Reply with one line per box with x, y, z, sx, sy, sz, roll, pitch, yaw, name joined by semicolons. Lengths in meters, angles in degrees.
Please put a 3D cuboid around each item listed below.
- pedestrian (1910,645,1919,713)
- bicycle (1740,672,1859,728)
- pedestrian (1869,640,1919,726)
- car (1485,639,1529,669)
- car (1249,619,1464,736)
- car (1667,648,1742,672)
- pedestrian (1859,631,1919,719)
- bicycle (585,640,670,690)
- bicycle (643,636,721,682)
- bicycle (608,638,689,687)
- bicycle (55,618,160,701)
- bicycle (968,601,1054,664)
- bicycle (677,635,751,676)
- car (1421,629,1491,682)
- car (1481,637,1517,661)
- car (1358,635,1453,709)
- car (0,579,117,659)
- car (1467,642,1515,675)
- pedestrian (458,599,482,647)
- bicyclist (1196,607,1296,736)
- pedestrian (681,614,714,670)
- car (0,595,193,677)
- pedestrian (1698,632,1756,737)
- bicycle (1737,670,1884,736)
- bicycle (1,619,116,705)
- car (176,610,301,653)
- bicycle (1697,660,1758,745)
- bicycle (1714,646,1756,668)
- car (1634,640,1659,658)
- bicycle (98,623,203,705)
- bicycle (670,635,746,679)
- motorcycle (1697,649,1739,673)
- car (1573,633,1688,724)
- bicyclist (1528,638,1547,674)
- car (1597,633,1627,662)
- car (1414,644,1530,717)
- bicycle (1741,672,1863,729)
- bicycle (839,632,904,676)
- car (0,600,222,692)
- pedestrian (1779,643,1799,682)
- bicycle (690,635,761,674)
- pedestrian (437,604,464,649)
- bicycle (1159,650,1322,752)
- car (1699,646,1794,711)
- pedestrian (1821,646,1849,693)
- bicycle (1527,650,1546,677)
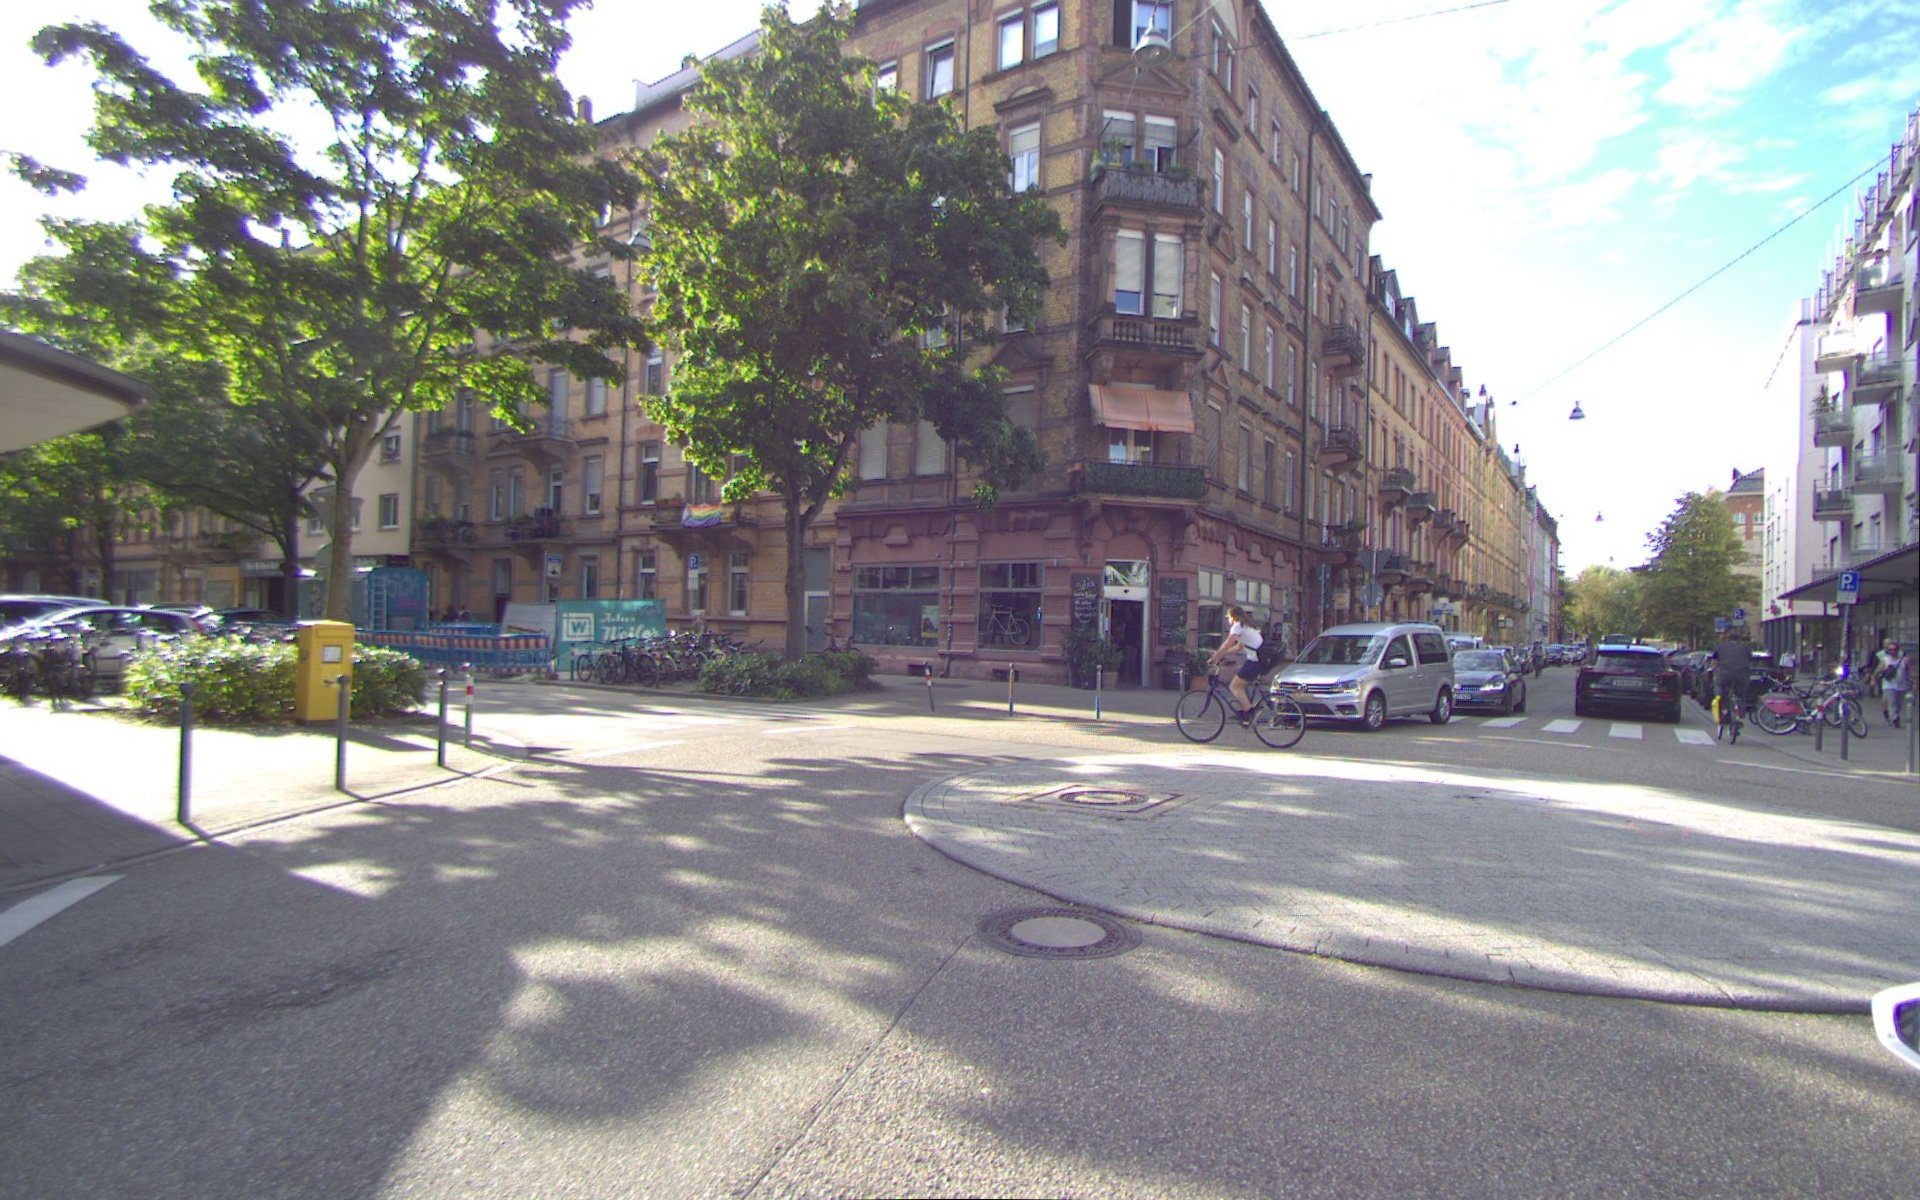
23.168;1.875;23.833;0.813;1.609;0.778;0;-2;36;pedestrian
17.303;2.042;20.754;1.760;1.085;0.586;-1;-2;25;bicycle
19.071;1.681;20.415;0.792;1.692;1.018;0;-3;38;pedestrian
29.370;2.875;53.888;1.717;1.503;3.973;2;-1;33;car
7.060;1.293;17.694;4.299;1.814;1.813;2;-3;-42;car
49.819;4.033;67.274;3.701;1.566;1.730;-1;-4;24;car
20.328;1.630;22.001;0.874;1.858;1.041;-2;-3;42;pedestrian
-7.716;1.486;23.282;2.103;1.043;0.590;1;0;29;bicycle
-6.875;1.438;24.794;2.039;1.025;0.590;1;0;29;bicycle
-7.405;1.467;23.867;2.039;1.043;0.590;1;0;29;bicycle
-12.837;0.869;15.098;2.389;1.149;0.477;0;-2;32;bicycle
1.273;0.805;25.476;2.126;1.541;0.556;1;-1;30;bicycle
-6.536;1.467;26.655;2.039;0.981;0.590;1;0;29;bicycle
19.429;2.132;39.239;1.893;1.896;4.425;1;-1;33;car
34.921;3.184;65.025;1.667;1.405;3.857;3;-1;33;car
12.642;1.967;28.353;1.735;1.797;4.395;3;-1;33;car
-20.200;0.375;20.970;1.551;1.617;3.687;2;-1;35;car
26.398;2.880;49.898;1.717;1.503;3.973;2;-1;33;car
-18.889;0.896;38.724;0.512;1.842;0.623;1;-1;33;pedestrian
3.755;0.923;13.196;1.108;1.607;0.692;0;-4;30;bicyclist
-7.811;1.231;29.852;0.798;1.599;0.612;2;2;41;pedestrian
-17.825;0.688;19.744;1.551;1.496;4.061;2;-1;35;car
12.885;1.391;16.899;0.708;1.672;0.927;1;-1;35;pedestrian
15.624;1.870;18.520;1.853;1.140;0.907;-2;-3;25;bicycle
-13.134;0.872;14.606;2.389;1.149;0.578;0;-2;32;bicycle
-30.032;1.320;41.887;1.854;1.623;3.975;2;-1;45;car
12.839;1.676;16.846;0.708;1.291;1.878;1;-1;35;bicycle
42.323;3.128;54.876;1.743;1.177;0.648;-2;-3;37;bicycle
65.876;4.689;96.358;1.904;1.660;3.988;2;-1;34;car
-12.560;0.961;15.555;2.389;1.149;0.477;1;-2;32;bicycle
-6.504;1.460;25.882;2.039;1.025;0.590;1;0;29;bicycle
49.116;3.939;65.075;2.125;1.550;0.683;-2;-3;39;motorcycle
15.090;1.730;22.622;1.938;1.763;4.030;2;-2;34;car
27.958;2.713;48.661;0.691;1.700;1.110;3;0;32;bicyclist
48.750;3.544;75.123;1.757;2.046;3.877;2;-1;33;car
11.463;1.749;22.351;1.768;1.456;3.988;-1;-4;35;car
16.877;2.005;20.186;1.760;1.085;0.568;-1;-2;25;bicycle
-2.433;1.471;27.564;1.752;1.081;0.527;2;-1;32;bicycle
-15.980;0.813;18.341;1.550;1.496;3.689;2;-1;33;car
38.032;2.860;46.071;0.604;1.749;1.123;0;-1;35;pedestrian
-6.417;1.476;27.433;2.039;0.981;0.590;1;0;29;bicycle
-19.315;0.999;38.106;0.512;1.694;0.700;1;-1;33;pedestrian
3.682;1.294;13.212;1.942;1.215;0.692;0;-4;30;bicycle
21.451;2.096;27.521;1.769;1.626;3.912;-2;-3;35;car
30.834;2.444;35.407;0.635;1.609;0.778;-2;-3;36;pedestrian
27.872;3.043;48.543;0.691;1.236;2.112;3;0;32;bicycle
